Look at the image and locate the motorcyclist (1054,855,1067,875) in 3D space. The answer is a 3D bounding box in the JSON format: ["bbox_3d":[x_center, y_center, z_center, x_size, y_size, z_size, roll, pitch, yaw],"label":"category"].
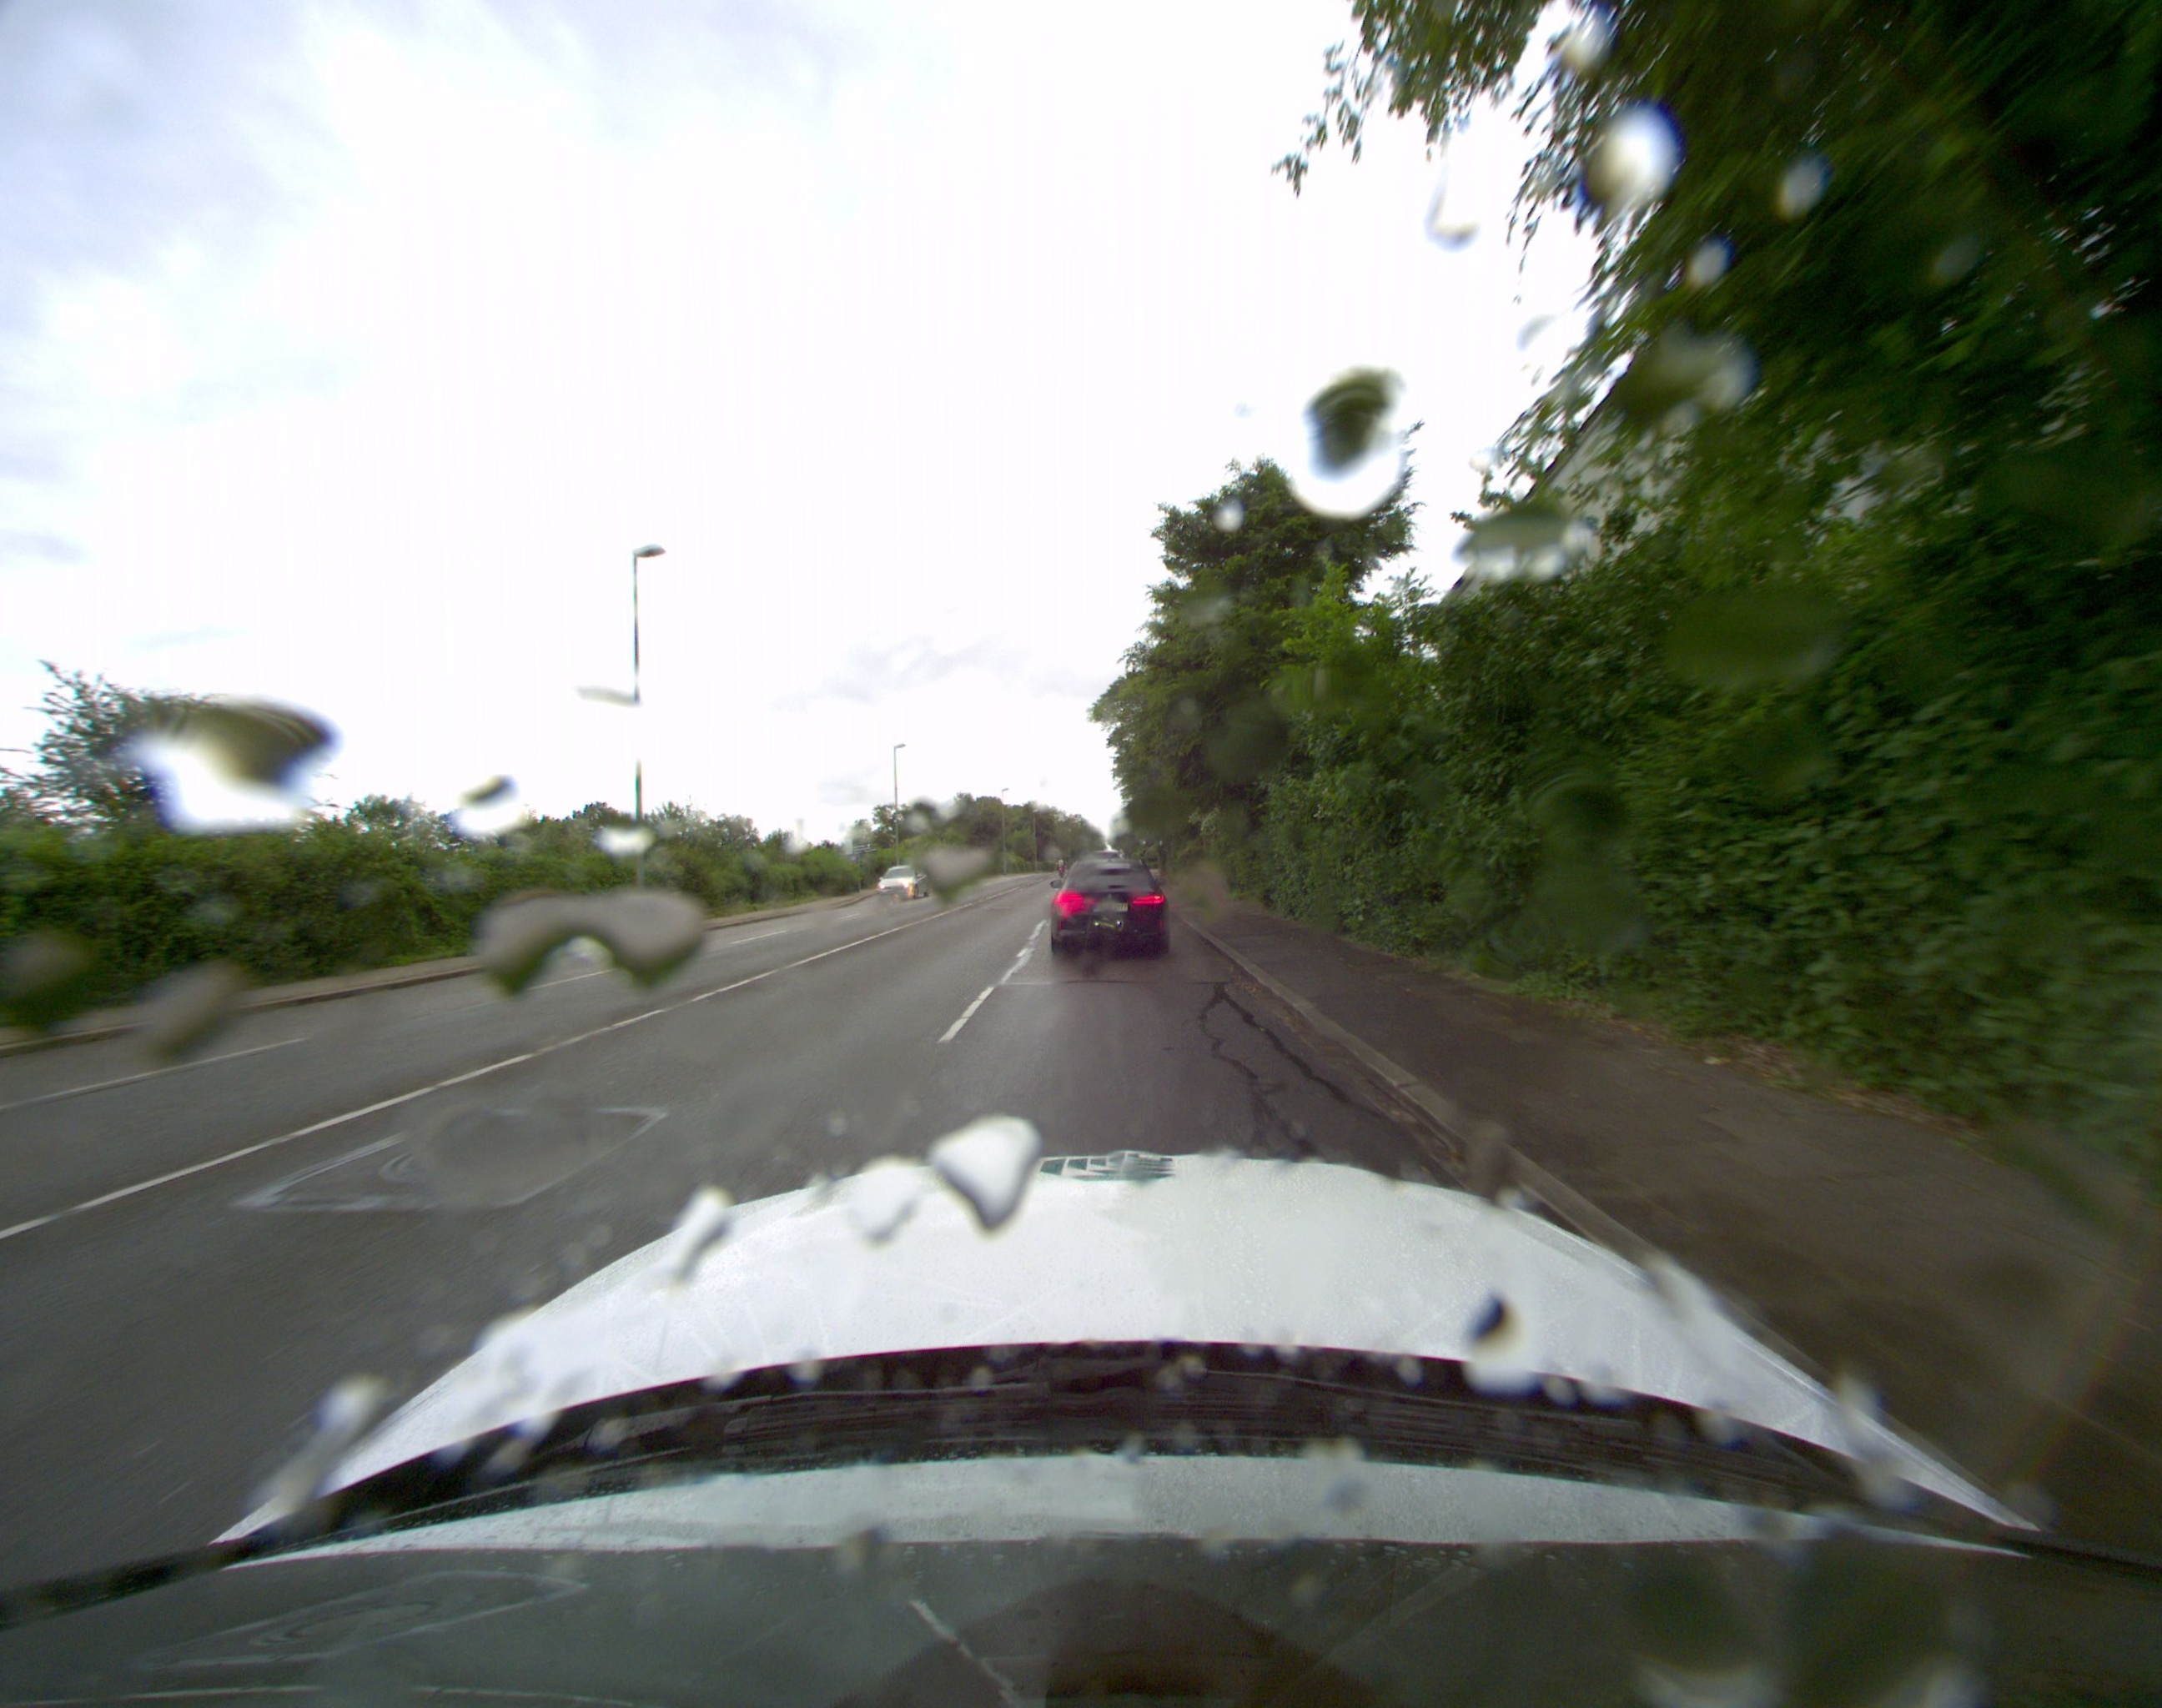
[{"bbox_3d":[-1.670,0.890,66.333,1.035,1.568,0.855,0,-2,1],"label":"motorcyclist"}]

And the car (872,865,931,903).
[{"bbox_3d":[-8.328,1.368,38.038,1.750,1.568,3.999,-3,-1,0],"label":"car"}]

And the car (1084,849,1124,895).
[{"bbox_3d":[1.026,0.783,36.123,1.623,1.833,4.001,-3,-1,2],"label":"car"}]

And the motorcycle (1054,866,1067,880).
[{"bbox_3d":[-1.670,1.549,66.331,0.872,1.124,2.742,0,-1,2],"label":"motorcycle"}]

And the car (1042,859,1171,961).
[{"bbox_3d":[0.470,0.856,13.923,1.889,1.489,4.002,0,-1,3],"label":"car"}]
